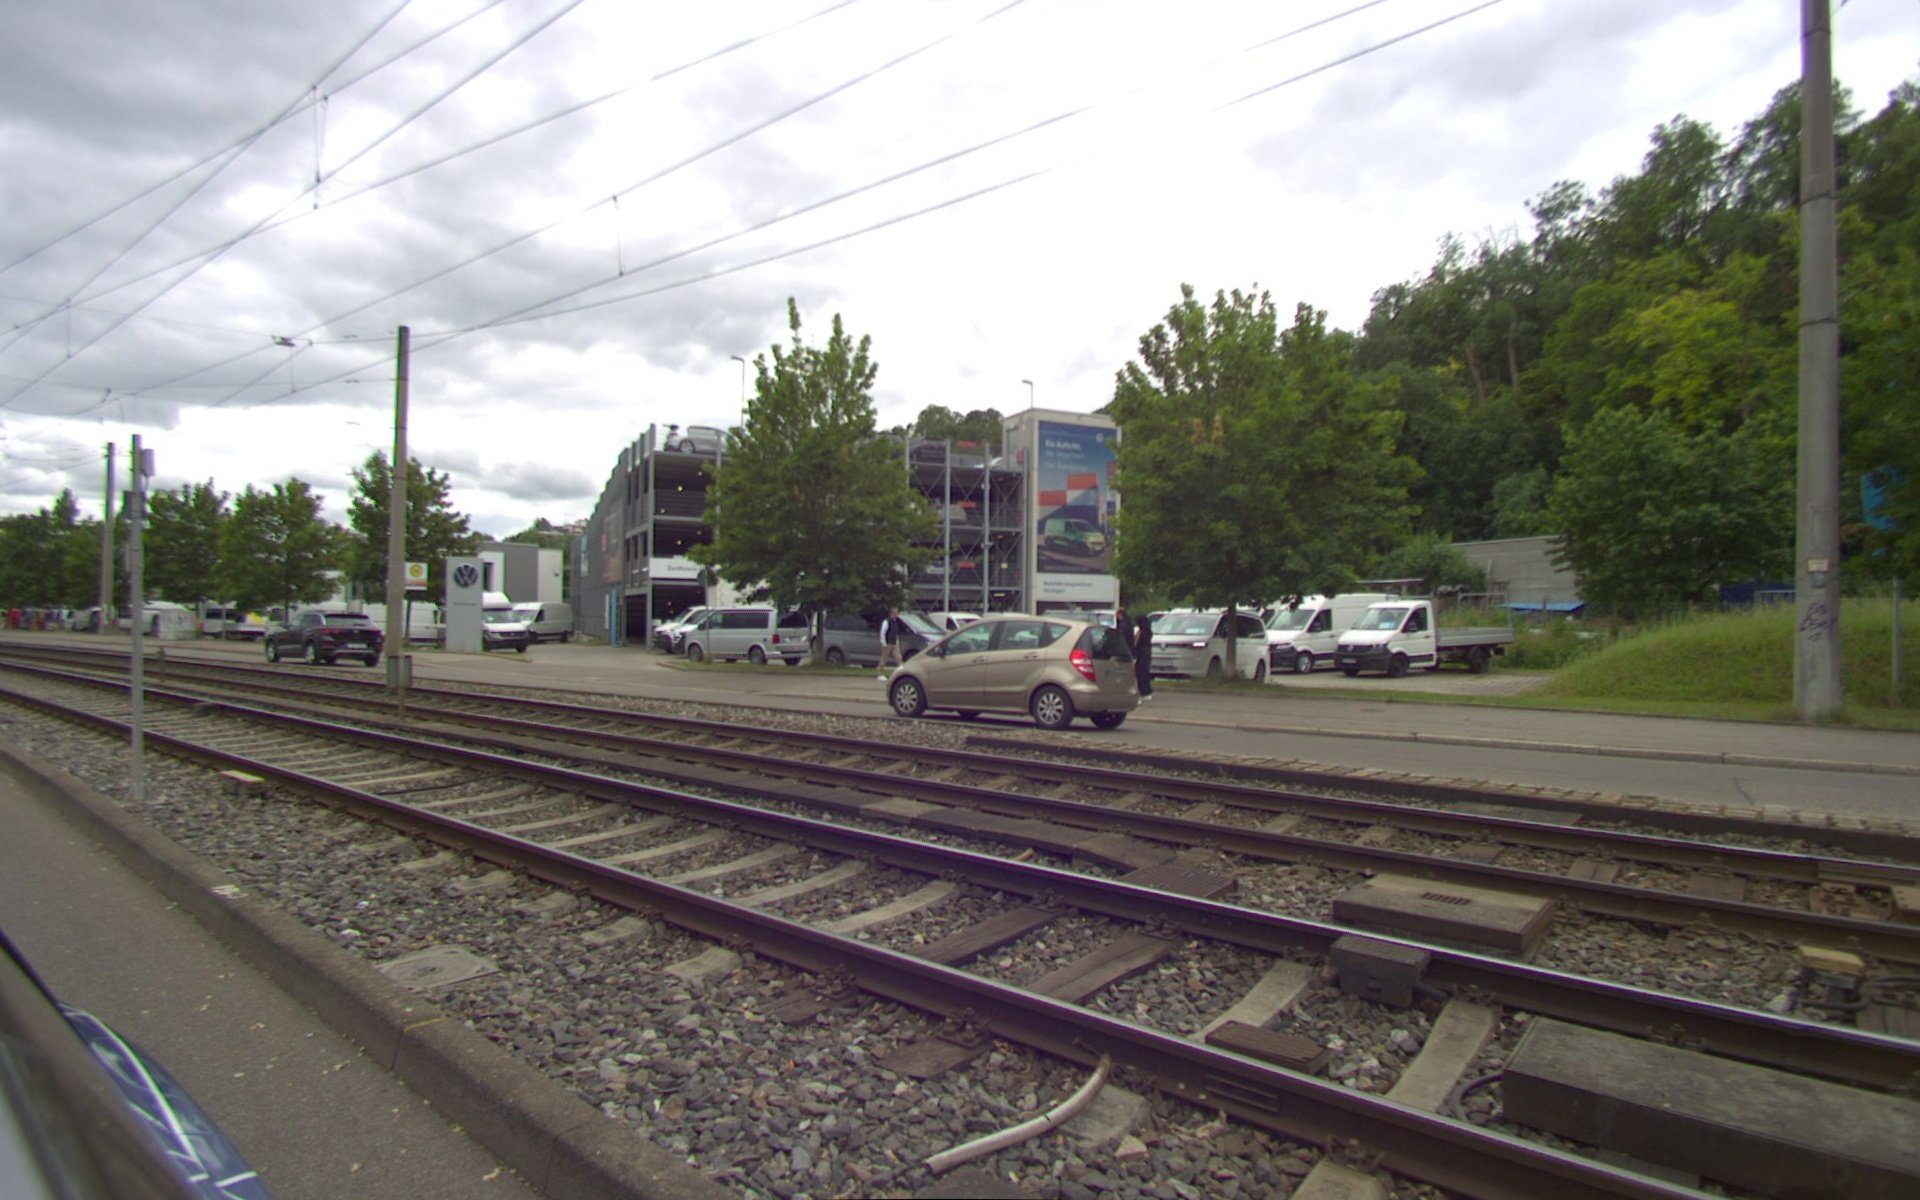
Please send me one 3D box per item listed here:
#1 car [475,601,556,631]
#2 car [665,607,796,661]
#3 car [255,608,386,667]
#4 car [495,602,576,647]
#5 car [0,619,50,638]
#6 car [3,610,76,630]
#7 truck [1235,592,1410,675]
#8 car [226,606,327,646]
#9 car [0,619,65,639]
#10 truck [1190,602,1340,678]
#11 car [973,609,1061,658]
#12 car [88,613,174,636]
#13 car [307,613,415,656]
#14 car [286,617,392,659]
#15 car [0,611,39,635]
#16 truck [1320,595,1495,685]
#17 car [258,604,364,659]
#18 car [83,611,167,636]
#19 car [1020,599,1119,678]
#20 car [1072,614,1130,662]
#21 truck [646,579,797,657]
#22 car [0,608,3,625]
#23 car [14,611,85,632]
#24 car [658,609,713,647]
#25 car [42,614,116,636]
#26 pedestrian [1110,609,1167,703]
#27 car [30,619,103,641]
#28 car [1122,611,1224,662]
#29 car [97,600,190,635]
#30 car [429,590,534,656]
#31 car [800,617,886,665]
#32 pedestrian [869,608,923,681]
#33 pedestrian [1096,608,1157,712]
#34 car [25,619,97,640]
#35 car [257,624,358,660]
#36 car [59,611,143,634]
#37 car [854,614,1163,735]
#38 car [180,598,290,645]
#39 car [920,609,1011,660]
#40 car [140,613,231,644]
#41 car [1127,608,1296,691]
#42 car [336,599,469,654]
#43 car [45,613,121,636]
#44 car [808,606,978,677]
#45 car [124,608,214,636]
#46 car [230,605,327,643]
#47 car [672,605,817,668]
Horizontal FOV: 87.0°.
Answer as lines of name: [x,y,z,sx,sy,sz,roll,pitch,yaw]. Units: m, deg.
car: [-30.770,1.155,70.173,1.997,2.029,4.798,-1,-2,37]
car: [-8.979,1.328,39.635,4.649,2.029,2.006,1,-2,-27]
car: [-18.535,1.077,29.258,4.247,1.544,1.672,-1,-5,36]
car: [-25.960,1.488,62.126,1.979,2.622,5.942,0,-1,6]
car: [-81.021,2.427,86.650,2.150,1.630,4.296,-1,-2,37]
car: [-75.627,1.674,83.191,2.059,1.630,4.139,-1,-2,37]
truck: [12.284,1.137,34.246,5.679,2.608,2.476,1,-2,-30]
car: [-38.929,1.471,57.740,1.997,2.189,4.333,-1,-2,31]
car: [-78.426,2.420,85.154,2.116,1.630,4.305,-1,-2,37]
truck: [11.168,1.437,37.043,4.985,2.608,2.476,1,-2,-30]
car: [2.444,1.460,44.623,1.965,2.028,4.482,1,-2,-25]
car: [-58.912,1.740,71.985,2.000,1.630,4.326,-1,-2,36]
car: [-30.765,1.770,52.084,1.997,2.121,4.333,-1,-2,31]
car: [-32.702,1.981,53.401,1.997,2.121,4.333,-1,-2,31]
car: [-85.330,2.026,89.361,5.621,2.023,2.148,2,-2,-37]
truck: [13.908,1.225,31.462,4.985,2.608,2.476,1,-2,-30]
car: [-34.944,1.682,54.595,1.997,2.840,4.333,-1,-2,31]
car: [-60.665,1.715,73.585,2.000,1.699,4.326,-1,-2,36]
car: [2.986,1.075,28.672,2.135,2.029,5.073,0,-2,-1]
car: [6.383,1.644,45.475,1.982,2.029,4.255,-2,-1,16]
truck: [-10.002,0.800,42.505,5.835,3.108,2.127,1,-2,-25]
car: [-115.313,1.899,120.034,1.967,2.029,4.010,1,-2,-34]
car: [-73.353,1.749,81.548,2.044,1.677,3.950,-1,-2,37]
car: [-14.472,1.497,53.579,1.971,1.918,4.002,0,-2,-2]
car: [-67.576,1.893,77.692,1.997,1.630,3.950,-1,-2,37]
pedestrian: [3.369,1.033,19.131,0.854,1.726,0.622,-1,0,38]
car: [-69.744,2.316,79.040,1.997,1.630,3.950,-1,-2,37]
car: [9.042,1.533,42.795,4.197,2.029,1.985,1,-2,-37]
car: [-55.159,1.196,68.447,2.121,2.329,4.455,-1,-2,36]
car: [-23.132,1.108,48.820,5.928,3.042,2.088,-1,-2,38]
car: [-4.841,1.635,41.214,1.965,1.845,4.481,1,-2,-28]
pedestrian: [-1.512,1.035,23.892,1.038,1.668,0.713,-1,0,28]
pedestrian: [3.029,1.072,18.437,0.854,1.827,0.670,-1,0,38]
car: [-71.340,2.361,80.385,1.997,1.630,3.950,-1,-2,37]
car: [-36.565,2.343,56.786,1.997,1.925,4.333,-1,-2,31]
car: [-63.141,1.645,74.441,1.998,1.630,4.330,-1,-2,33]
car: [0.646,1.055,15.016,4.249,1.544,1.873,-1,-5,37]
car: [-43.450,1.298,60.773,2.108,2.719,4.928,-1,-2,31]
car: [0.172,1.462,43.135,1.965,2.028,4.481,1,-2,-28]
car: [-50.831,1.877,66.493,2.000,1.962,4.326,-1,-2,36]
car: [6.461,1.177,25.598,2.165,1.902,5.004,-1,-2,40]
car: [-28.075,1.348,51.142,2.242,2.622,5.425,-1,-2,35]
car: [-65.350,1.828,75.459,1.997,1.630,3.950,-1,-2,37]
car: [-2.111,1.244,31.104,5.116,2.029,1.977,-1,-2,34]
car: [-52.783,1.474,67.597,2.000,1.859,4.326,-1,-2,36]
car: [-40.435,1.427,60.102,1.997,2.189,4.333,-1,-2,31]
car: [-7.389,1.216,34.545,4.906,2.029,1.977,-1,-2,34]
